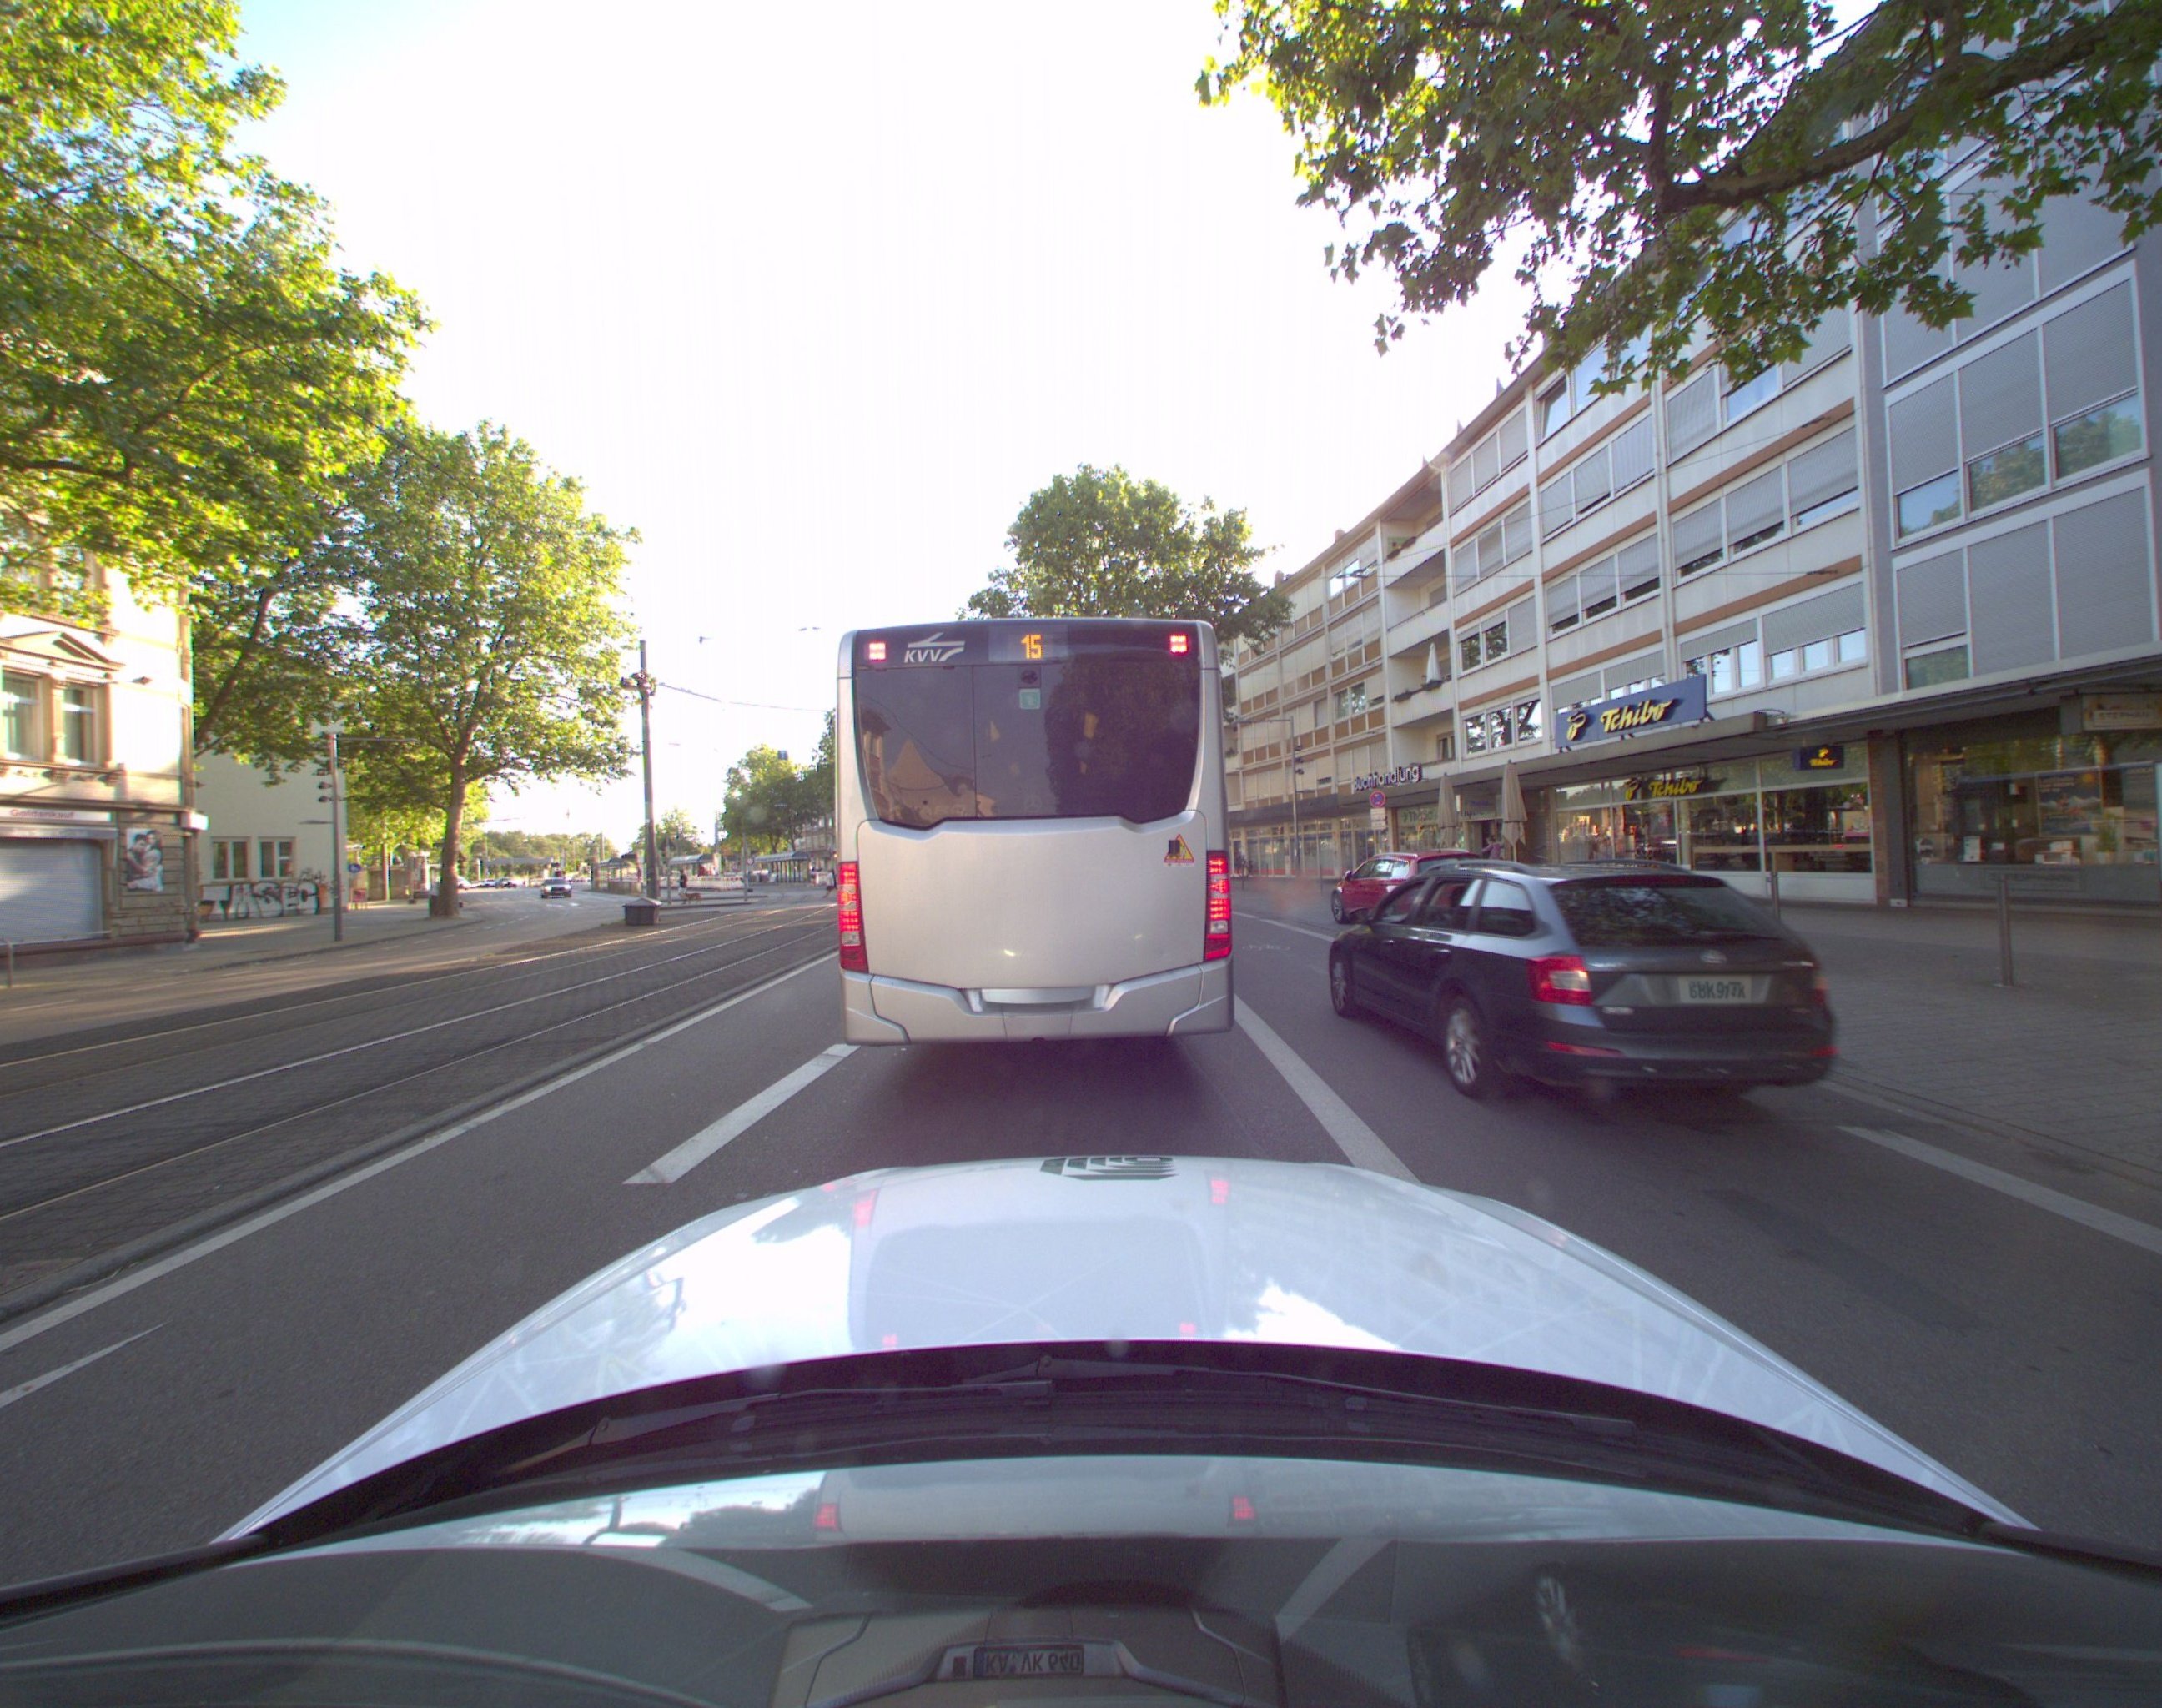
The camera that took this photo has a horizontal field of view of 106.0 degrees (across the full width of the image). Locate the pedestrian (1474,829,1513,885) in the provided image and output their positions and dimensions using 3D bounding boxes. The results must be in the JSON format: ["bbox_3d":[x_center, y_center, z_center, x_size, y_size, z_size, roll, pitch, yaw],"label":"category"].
[{"bbox_3d":[11.882,0.090,23.472,0.638,1.552,0.806,-2,-1,-6],"label":"pedestrian"}]

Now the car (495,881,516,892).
[{"bbox_3d":[-87.252,4.896,123.505,1.903,1.585,4.154,-2,-1,-45],"label":"car"}]

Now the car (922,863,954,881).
[{"bbox_3d":[-13.778,1.715,78.163,1.675,1.516,3.376,-6,2,-35],"label":"car"}]

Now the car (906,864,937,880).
[{"bbox_3d":[-15.982,1.843,81.534,1.675,1.394,3.374,-6,2,-37],"label":"car"}]

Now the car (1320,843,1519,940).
[{"bbox_3d":[6.362,0.636,15.961,1.774,1.496,4.563,-4,0,-2],"label":"car"}]

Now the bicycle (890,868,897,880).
[{"bbox_3d":[-19.686,2.090,85.584,0.508,1.211,2.079,-2,0,-19],"label":"bicycle"}]

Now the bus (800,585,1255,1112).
[{"bbox_3d":[-0.315,0.010,10.060,2.649,3.099,10.214,-2,-1,0],"label":"bus"}]

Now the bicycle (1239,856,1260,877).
[{"bbox_3d":[9.374,0.686,45.378,0.438,1.092,1.453,-5,0,-18],"label":"bicycle"}]

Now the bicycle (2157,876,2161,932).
[{"bbox_3d":[8.718,0.670,5.516,0.294,1.040,1.711,-5,0,-12],"label":"bicycle"}]

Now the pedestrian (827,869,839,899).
[{"bbox_3d":[-12.633,1.505,41.464,0.522,1.504,0.589,-2,-1,-21],"label":"pedestrian"}]

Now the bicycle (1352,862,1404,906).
[{"bbox_3d":[7.850,0.768,21.575,0.511,1.070,1.657,-4,0,-7],"label":"bicycle"}]

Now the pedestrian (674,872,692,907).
[{"bbox_3d":[-19.846,1.749,40.582,0.426,1.710,0.681,-1,-1,33],"label":"pedestrian"}]

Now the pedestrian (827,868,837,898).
[{"bbox_3d":[-12.829,1.507,42.025,0.410,1.504,0.513,-2,-1,-22],"label":"pedestrian"}]

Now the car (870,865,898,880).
[{"bbox_3d":[-21.516,2.034,88.730,1.675,1.468,3.375,-6,2,-36],"label":"car"}]

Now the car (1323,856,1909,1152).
[{"bbox_3d":[3.272,0.767,6.109,1.797,1.474,4.072,0,-1,1],"label":"car"}]

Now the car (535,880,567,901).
[{"bbox_3d":[-40.384,2.741,61.965,1.900,1.472,4.161,-2,-1,-35],"label":"car"}]

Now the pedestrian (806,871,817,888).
[{"bbox_3d":[-21.236,1.972,64.092,0.779,1.303,0.590,-2,-1,-19],"label":"pedestrian"}]
